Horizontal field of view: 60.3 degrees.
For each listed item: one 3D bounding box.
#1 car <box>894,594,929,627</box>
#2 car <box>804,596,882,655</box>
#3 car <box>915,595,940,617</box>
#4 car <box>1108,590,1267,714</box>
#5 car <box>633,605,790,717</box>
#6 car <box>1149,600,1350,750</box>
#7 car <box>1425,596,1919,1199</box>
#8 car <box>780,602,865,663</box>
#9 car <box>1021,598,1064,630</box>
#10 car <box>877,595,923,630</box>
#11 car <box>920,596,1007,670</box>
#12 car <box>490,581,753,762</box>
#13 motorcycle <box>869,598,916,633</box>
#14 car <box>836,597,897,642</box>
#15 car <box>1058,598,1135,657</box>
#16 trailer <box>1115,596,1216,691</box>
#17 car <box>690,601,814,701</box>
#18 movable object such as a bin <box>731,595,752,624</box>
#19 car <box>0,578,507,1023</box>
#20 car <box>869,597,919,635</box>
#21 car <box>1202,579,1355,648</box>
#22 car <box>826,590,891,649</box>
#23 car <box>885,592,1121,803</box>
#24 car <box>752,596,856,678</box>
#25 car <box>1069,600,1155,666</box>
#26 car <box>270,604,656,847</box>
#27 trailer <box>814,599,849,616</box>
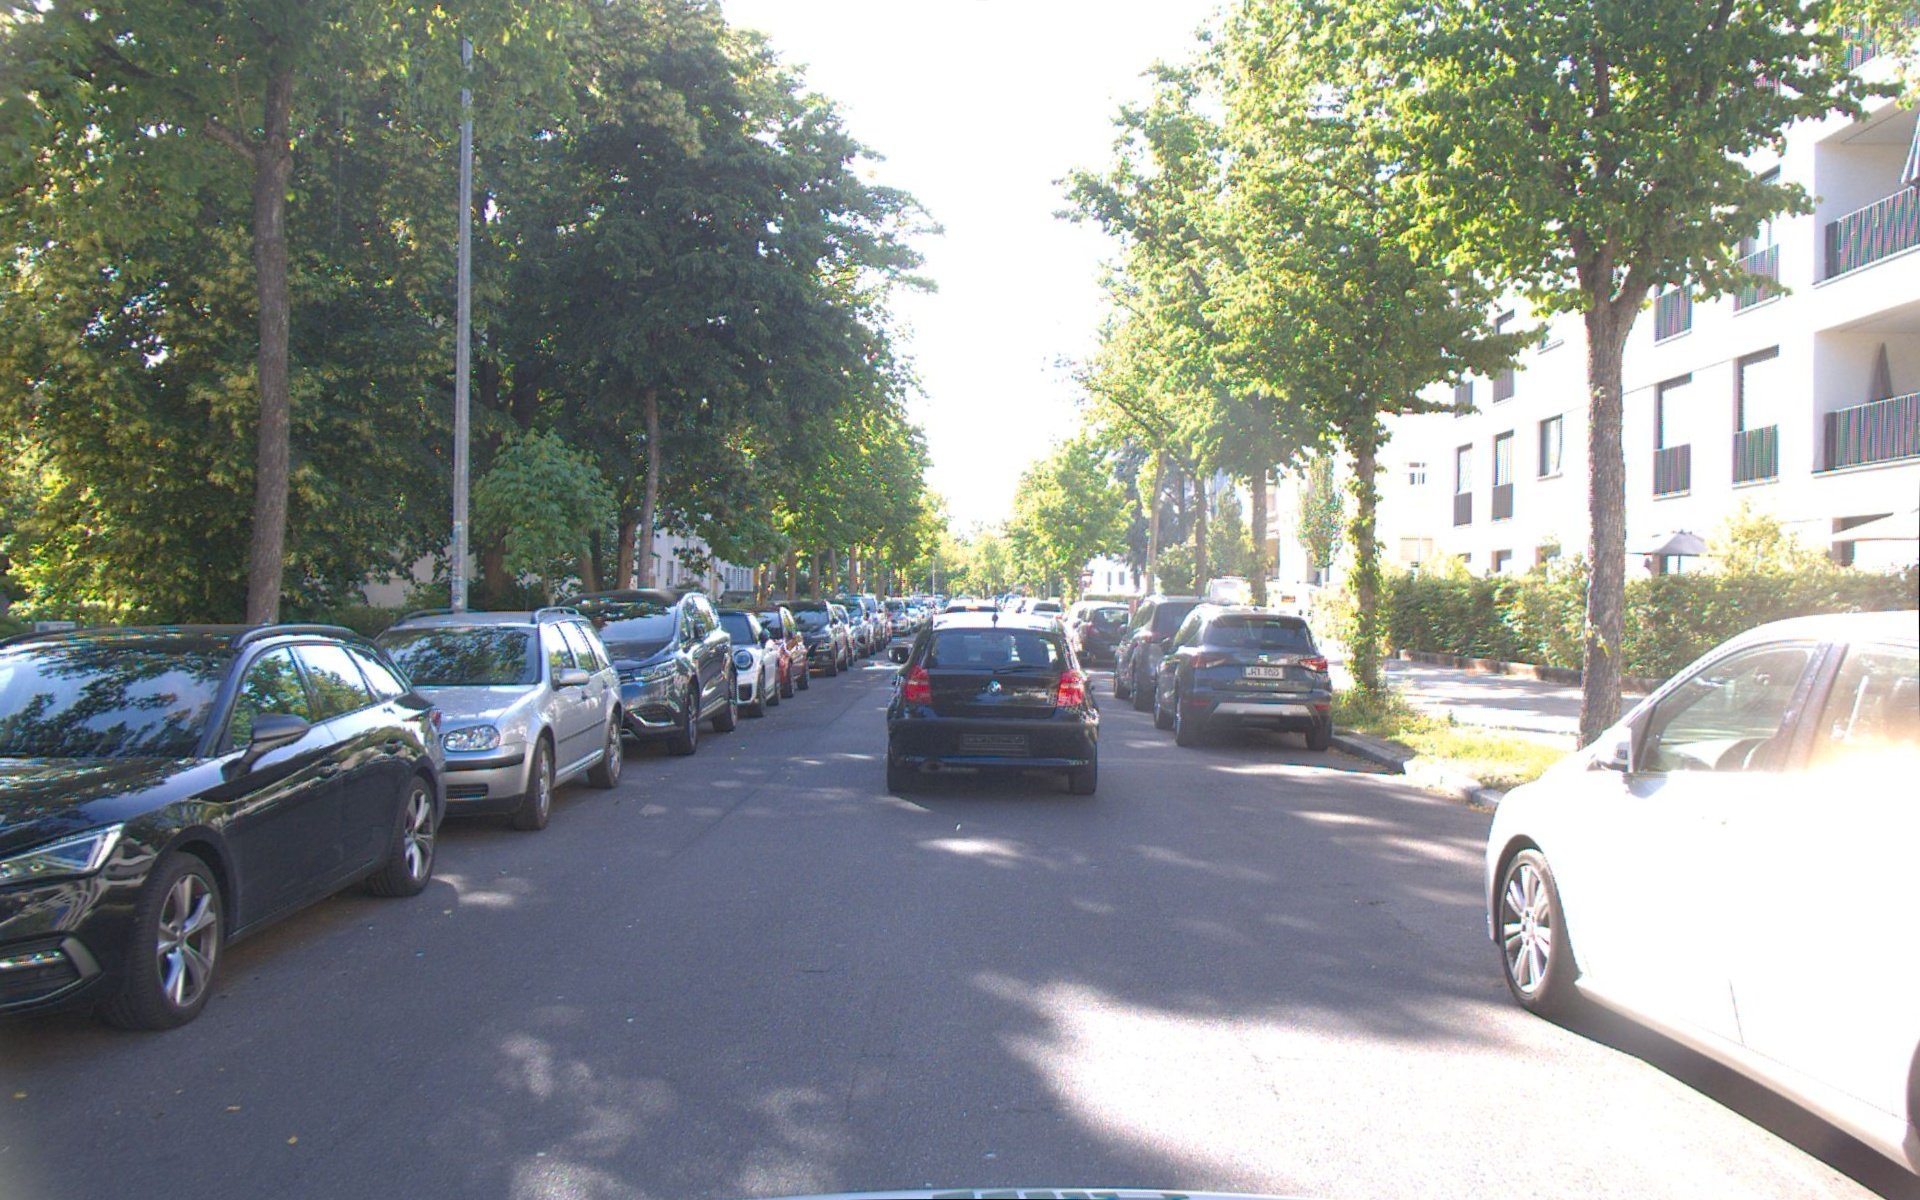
[{"bbox_3d":[-2.571,0.564,88.357,1.693,1.646,4.365,-3,0,-1],"label":"car"},{"bbox_3d":[-3.188,0.661,45.810,1.732,1.558,4.420,0,0,1],"label":"car"},{"bbox_3d":[-2.358,0.439,121.225,1.774,1.624,4.233,0,0,0],"label":"car"},{"bbox_3d":[3.429,0.729,25.782,1.756,1.672,4.819,2,0,0],"label":"car"},{"bbox_3d":[-3.407,0.786,23.353,1.620,1.397,4.188,-1,0,-1],"label":"car"},{"bbox_3d":[3.302,0.787,19.606,1.682,1.543,4.345,1,0,1],"label":"car"},{"bbox_3d":[3.122,0.776,5.189,1.746,1.544,4.684,1,0,-4],"label":"car"},{"bbox_3d":[-3.299,0.743,40.381,1.748,1.376,4.481,-1,0,-1],"label":"car"},{"bbox_3d":[4.017,0.660,81.138,1.784,1.495,4.908,2,0,-1],"label":"car"},{"bbox_3d":[-2.795,0.557,76.607,2.022,1.551,4.719,0,0,-3],"label":"car"},{"bbox_3d":[0.034,0.740,38.061,1.857,1.551,4.966,1,-1,-1],"label":"car"},{"bbox_3d":[-3.498,0.665,18.075,1.804,1.685,5.087,-1,0,0],"label":"car"},{"bbox_3d":[-2.974,0.666,72.630,0.980,1.530,2.202,0,0,-39],"label":"motorcycle"},{"bbox_3d":[-3.193,0.647,57.307,1.818,1.495,4.182,0,0,1],"label":"car"},{"bbox_3d":[3.702,0.714,45.450,1.697,1.513,4.008,1,0,-1],"label":"car"},{"bbox_3d":[3.750,0.760,30.553,1.542,1.606,3.193,2,0,2],"label":"trailer"},{"bbox_3d":[-3.418,0.801,27.835,1.620,1.531,4.068,-1,0,-1],"label":"car"},{"bbox_3d":[-10.339,0.450,78.340,0.911,1.347,1.377,0,0,-5],"label":"movable object such as a bin"},{"bbox_3d":[-3.617,0.669,7.749,1.757,1.477,4.489,-1,0,0],"label":"car"},{"bbox_3d":[-2.778,0.637,68.589,2.002,1.551,4.603,0,0,-3],"label":"car"},{"bbox_3d":[11.240,0.456,58.408,4.972,2.346,2.219,0,0,-23],"label":"car"},{"bbox_3d":[-3.090,0.559,51.047,1.731,1.717,4.813,-1,0,-1],"label":"car"},{"bbox_3d":[0.295,0.720,14.316,1.746,1.550,3.999,-1,0,-1],"label":"car"},{"bbox_3d":[-3.254,0.729,35.167,1.670,1.604,4.482,-1,0,1],"label":"car"},{"bbox_3d":[3.699,0.773,40.853,1.636,1.476,4.178,2,0,-1],"label":"car"},{"bbox_3d":[-3.576,0.805,12.772,1.672,1.506,4.489,-1,0,-1],"label":"car"},{"bbox_3d":[-7.987,0.480,103.151,1.751,1.052,3.282,0,0,2],"label":"trailer"}]
